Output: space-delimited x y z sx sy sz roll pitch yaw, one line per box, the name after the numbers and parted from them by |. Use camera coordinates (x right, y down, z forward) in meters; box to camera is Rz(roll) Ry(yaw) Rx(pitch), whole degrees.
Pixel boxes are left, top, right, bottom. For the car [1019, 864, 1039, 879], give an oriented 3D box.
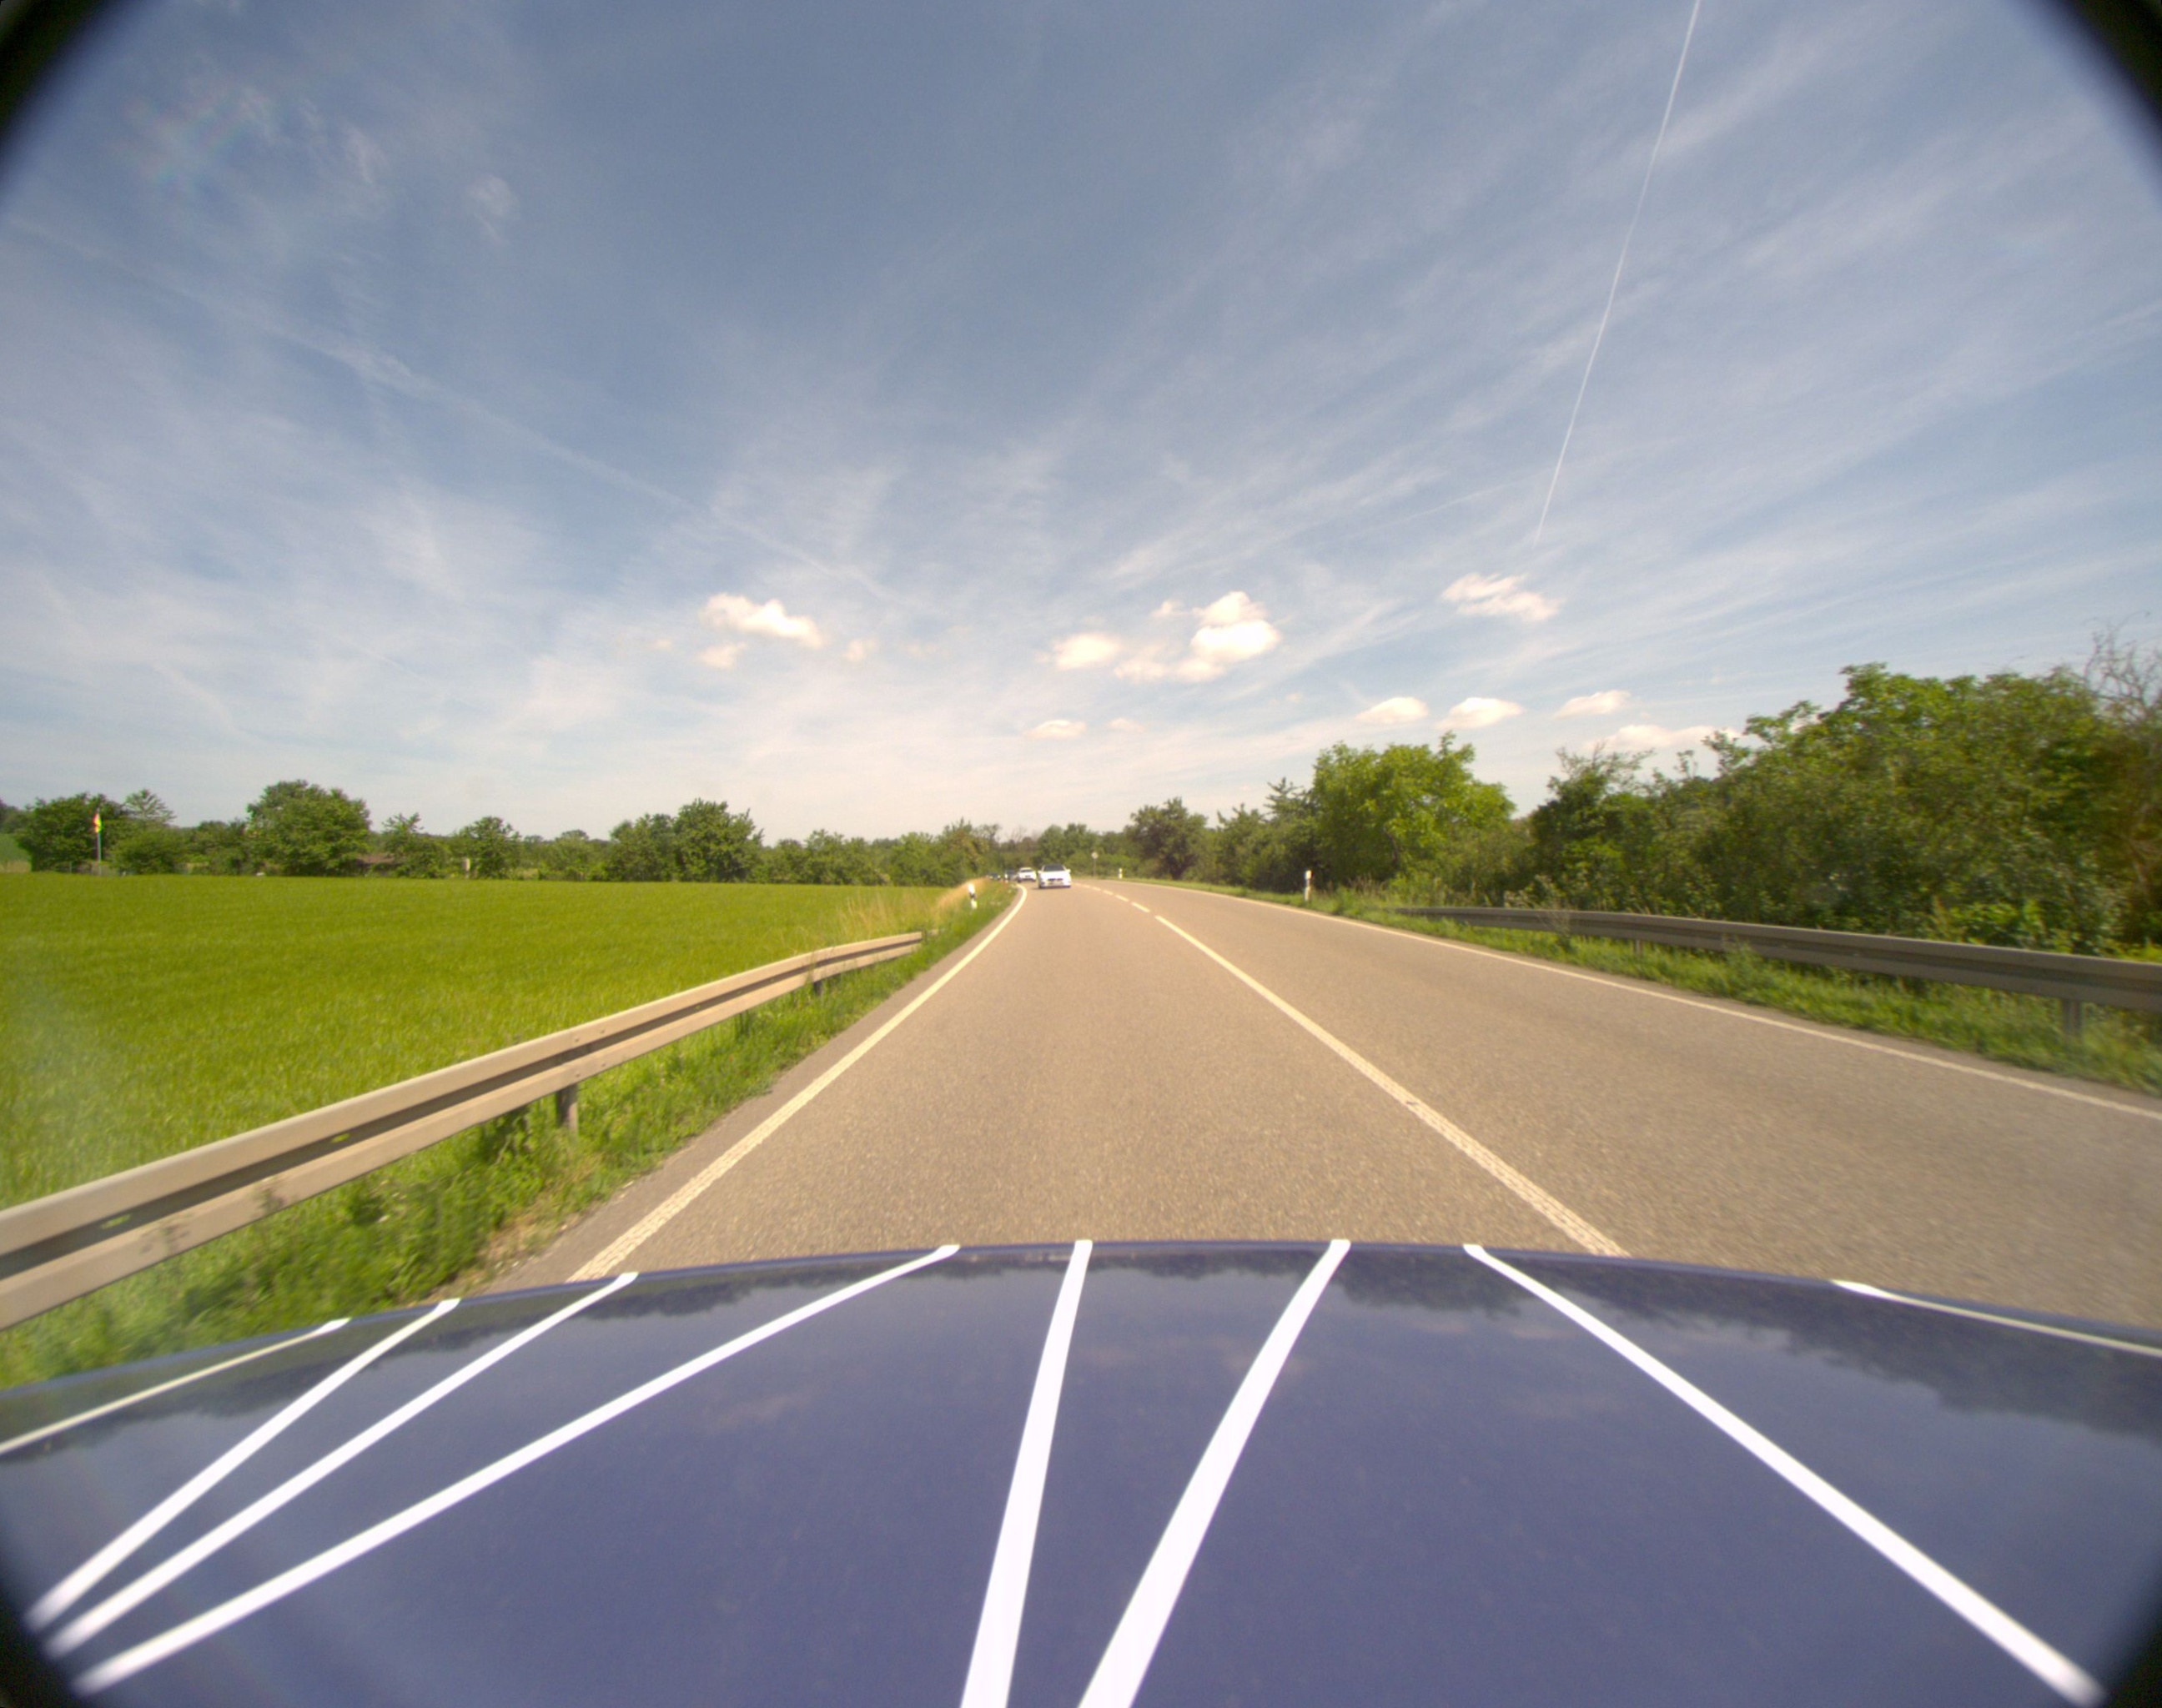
-5.420 1.810 79.670 1.930 1.441 3.999 -3 0 -4 | car

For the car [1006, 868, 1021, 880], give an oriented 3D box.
-9.099 2.658 102.542 1.930 1.441 4.074 -1 0 -7 | car

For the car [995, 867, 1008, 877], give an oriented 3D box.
-12.861 2.929 122.689 1.931 1.441 3.996 -1 0 -9 | car

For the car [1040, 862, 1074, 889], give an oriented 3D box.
-1.476 1.262 46.314 1.929 1.441 4.534 -3 -1 -2 | car
